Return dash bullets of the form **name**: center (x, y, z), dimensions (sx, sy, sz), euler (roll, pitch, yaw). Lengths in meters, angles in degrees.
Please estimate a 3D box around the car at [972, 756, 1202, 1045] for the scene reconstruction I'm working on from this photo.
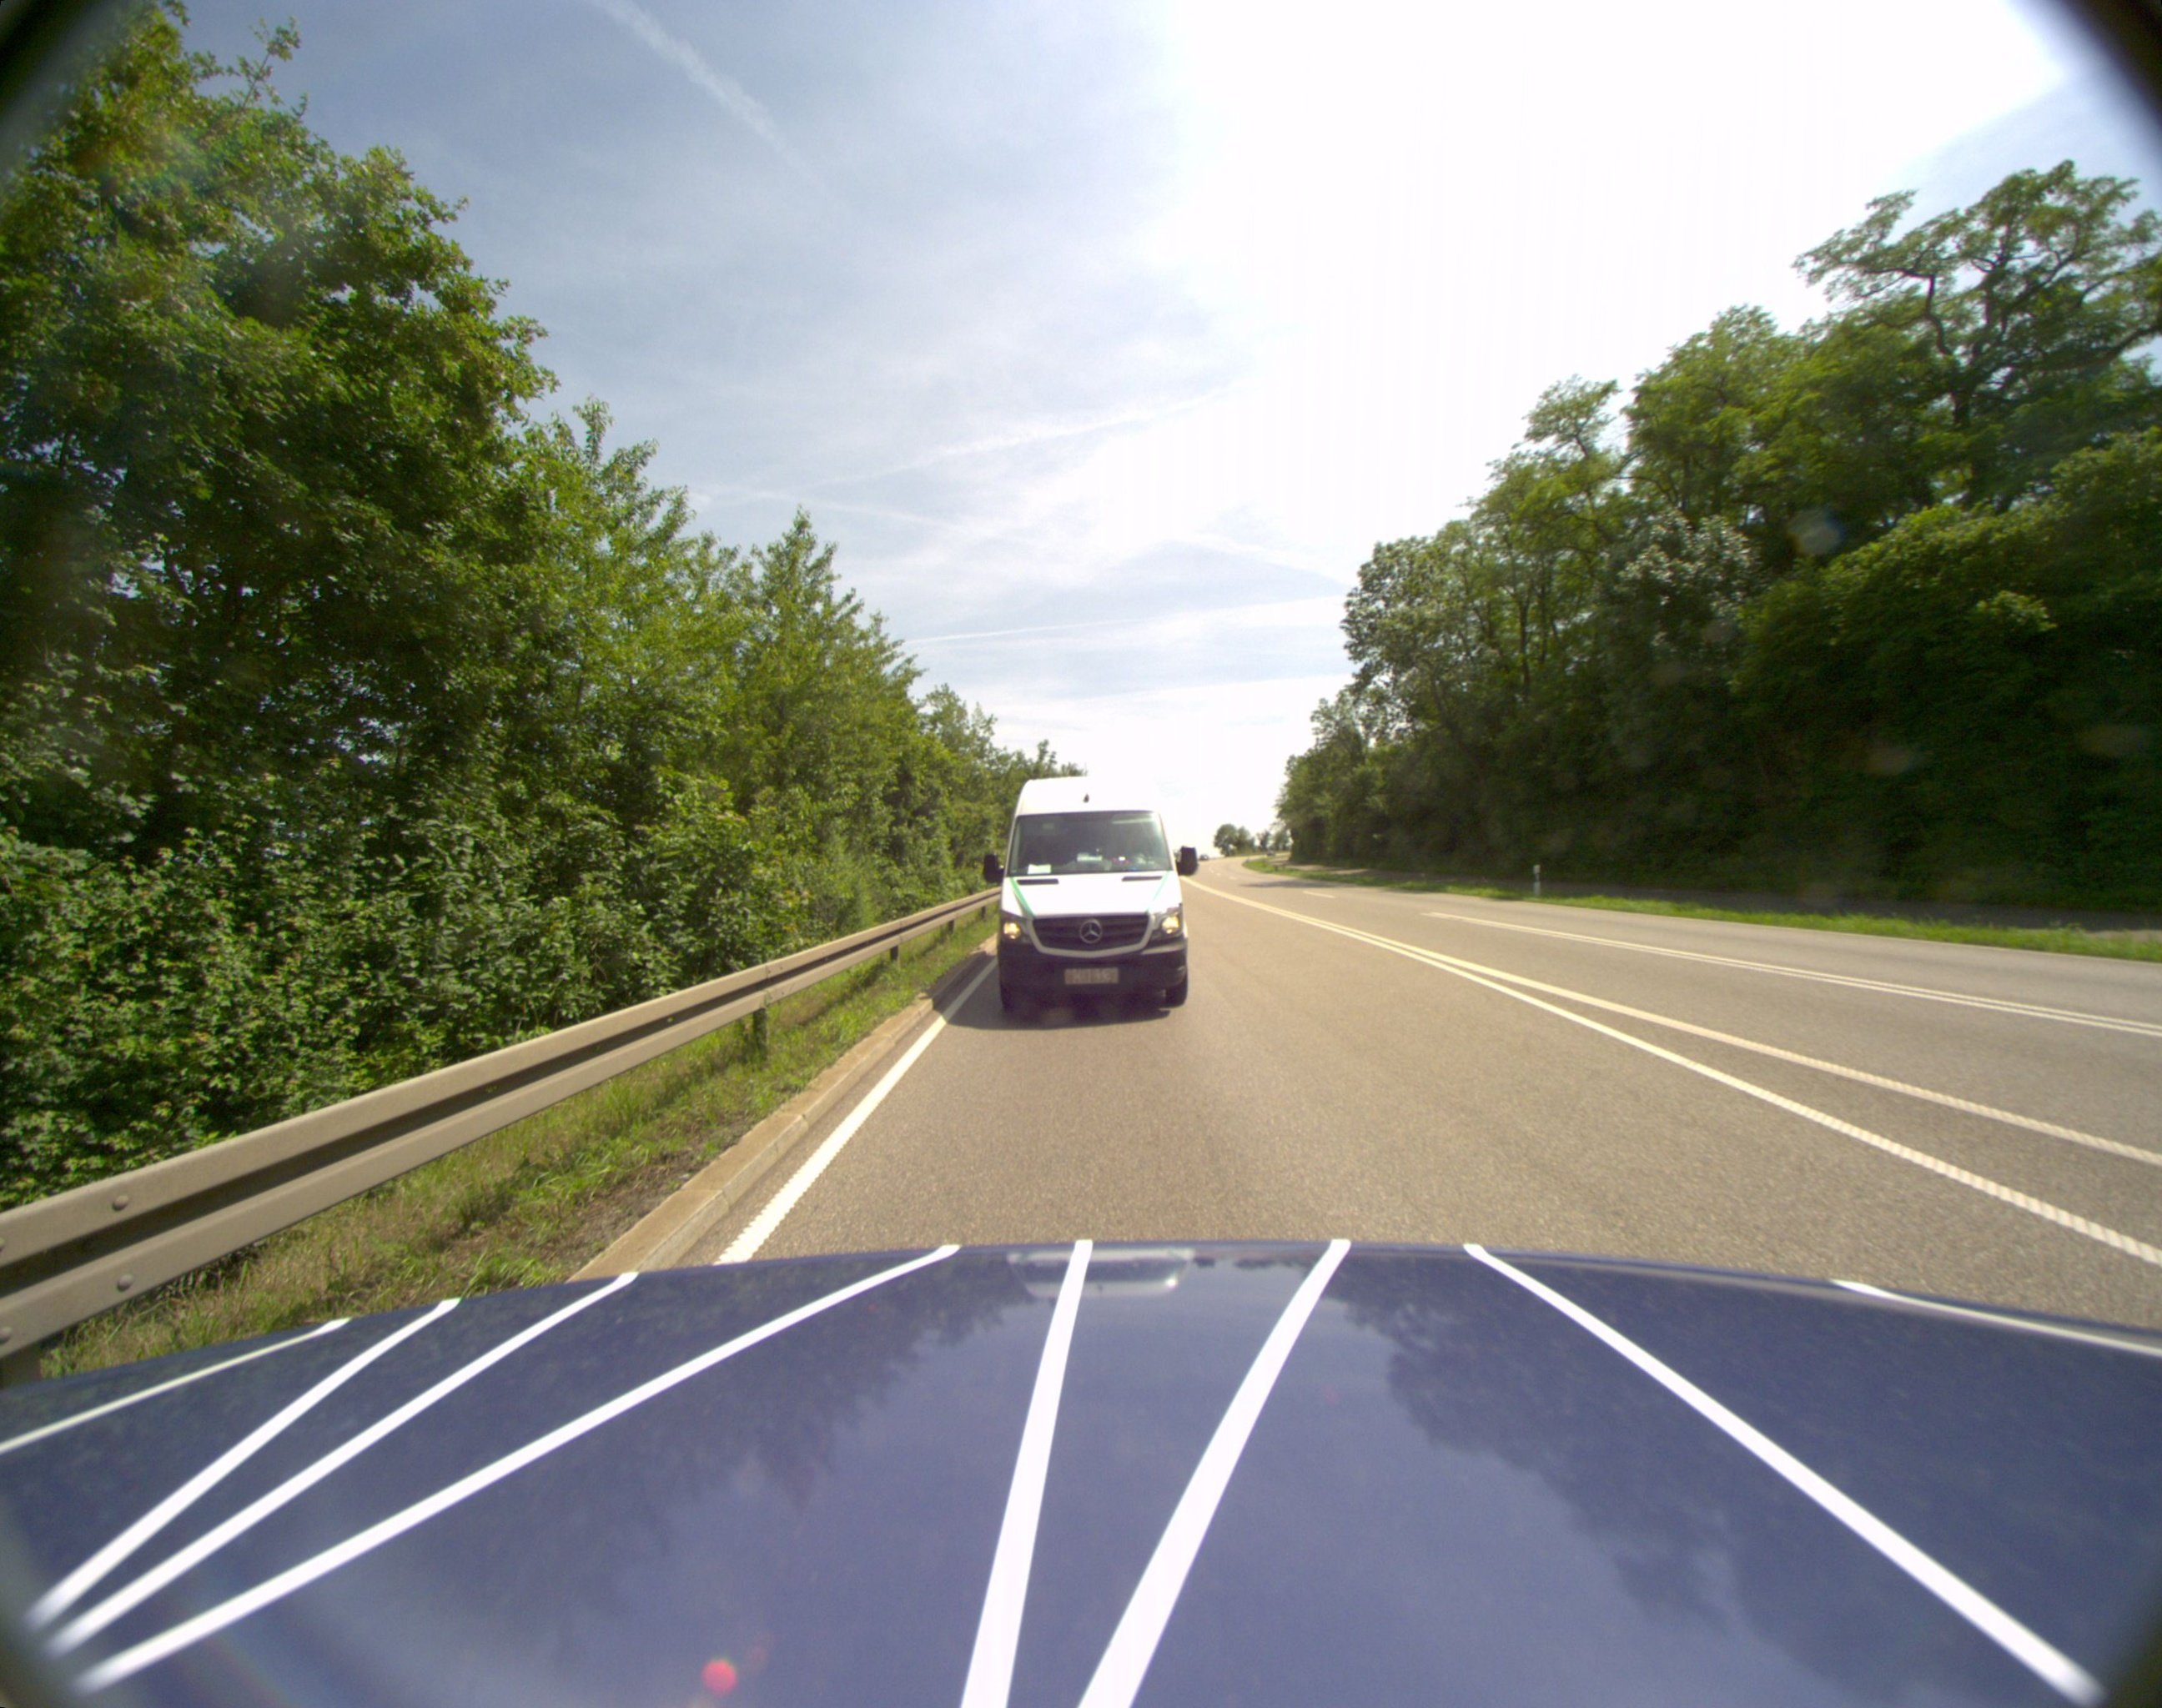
- **car**: center (0.130, 0.421, 9.357), dimensions (1.958, 2.502, 5.267), euler (-2, 0, 2)

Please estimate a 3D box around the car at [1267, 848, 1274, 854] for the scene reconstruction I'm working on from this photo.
- **car**: center (49.468, -0.787, 198.145), dimensions (1.805, 1.379, 3.874), euler (-2, 0, 14)

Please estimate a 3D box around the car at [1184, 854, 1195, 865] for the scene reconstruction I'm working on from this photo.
- **car**: center (21.381, 1.138, 149.684), dimensions (1.850, 2.002, 3.875), euler (-2, 1, 11)

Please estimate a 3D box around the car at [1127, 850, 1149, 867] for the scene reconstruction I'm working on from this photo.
- **car**: center (6.279, 0.431, 83.089), dimensions (1.997, 1.718, 4.002), euler (-2, 1, 10)

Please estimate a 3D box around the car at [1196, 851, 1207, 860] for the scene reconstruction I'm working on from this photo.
- **car**: center (26.548, 0.415, 167.419), dimensions (1.764, 1.849, 3.814), euler (-2, 1, 17)

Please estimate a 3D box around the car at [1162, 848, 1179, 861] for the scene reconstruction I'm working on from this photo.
- **car**: center (15.010, 0.084, 127.283), dimensions (1.996, 2.002, 4.005), euler (-2, 0, 16)
